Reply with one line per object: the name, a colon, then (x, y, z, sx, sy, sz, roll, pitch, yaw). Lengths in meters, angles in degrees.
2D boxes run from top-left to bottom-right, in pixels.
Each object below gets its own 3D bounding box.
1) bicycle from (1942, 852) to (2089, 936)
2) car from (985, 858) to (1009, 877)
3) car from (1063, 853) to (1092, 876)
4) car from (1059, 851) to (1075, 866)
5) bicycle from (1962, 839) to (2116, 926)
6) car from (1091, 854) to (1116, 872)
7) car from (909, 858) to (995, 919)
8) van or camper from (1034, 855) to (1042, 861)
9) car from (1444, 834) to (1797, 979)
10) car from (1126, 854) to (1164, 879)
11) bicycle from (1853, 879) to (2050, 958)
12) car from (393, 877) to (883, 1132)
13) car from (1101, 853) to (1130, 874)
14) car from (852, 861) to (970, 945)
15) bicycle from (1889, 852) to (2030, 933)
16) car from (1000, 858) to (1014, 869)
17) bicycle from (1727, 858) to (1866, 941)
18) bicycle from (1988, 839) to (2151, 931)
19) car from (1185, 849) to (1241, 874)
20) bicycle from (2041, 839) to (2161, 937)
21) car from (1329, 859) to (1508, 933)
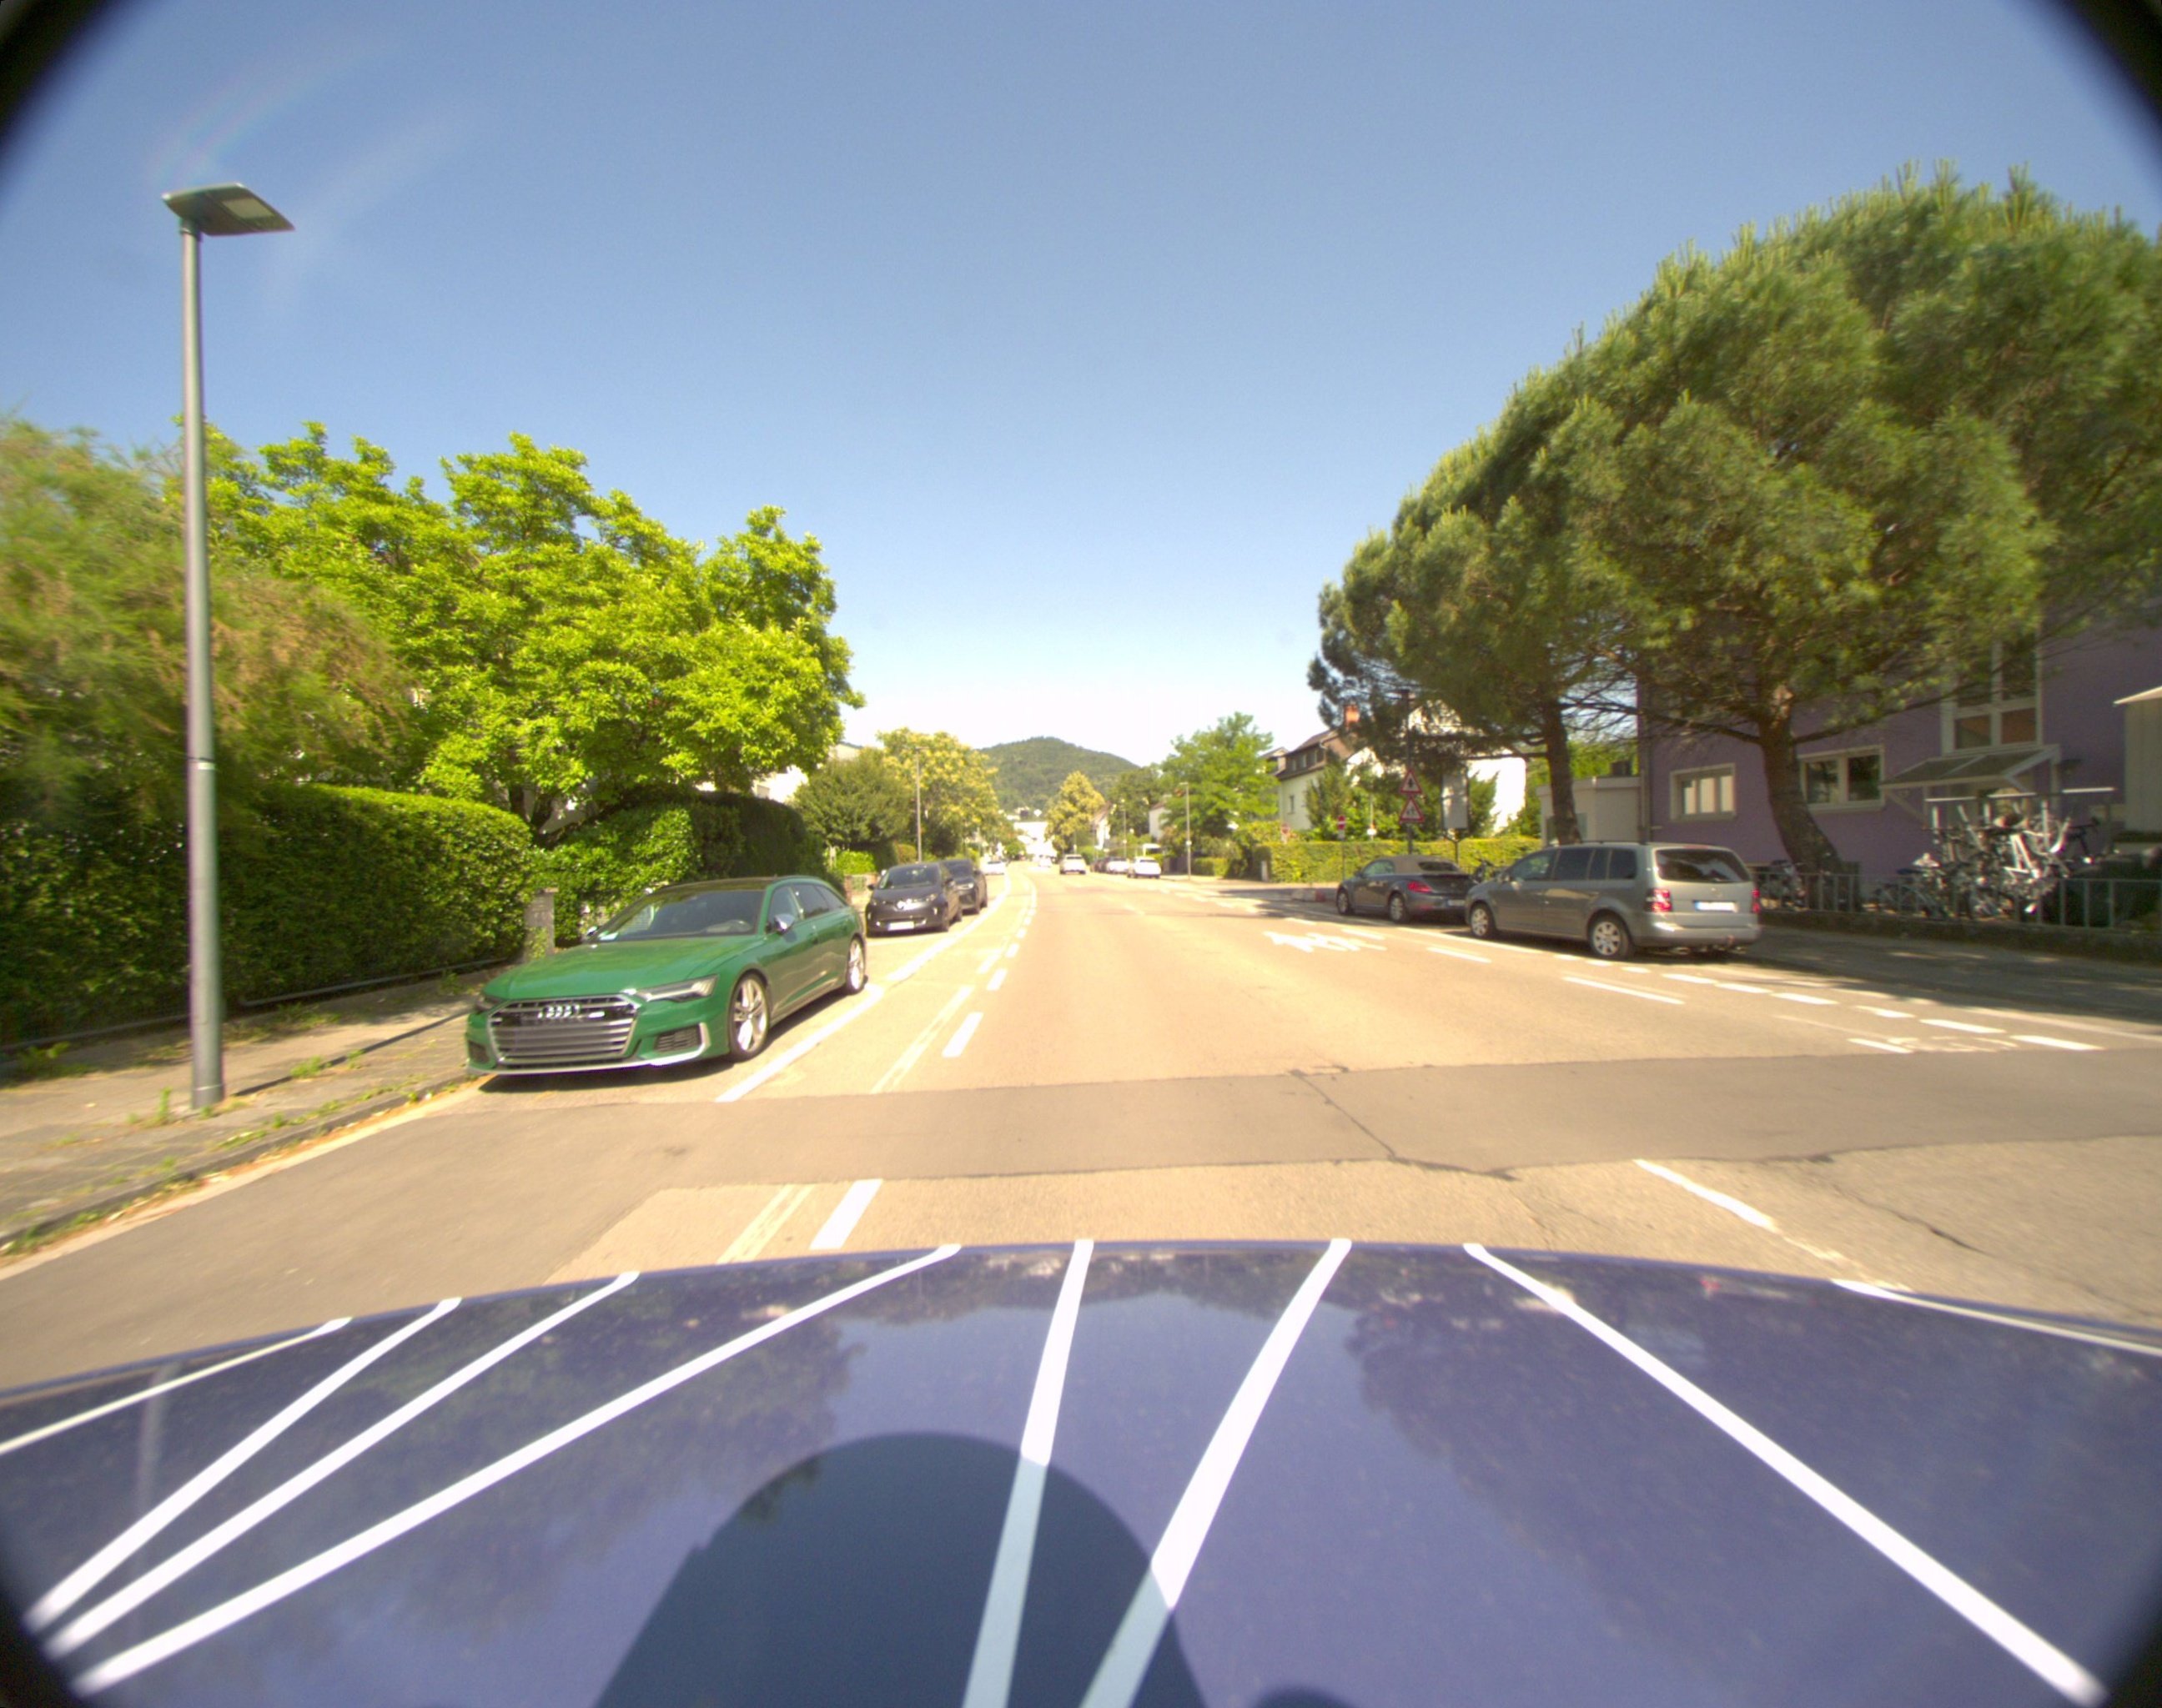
bicycle: (15.823, 0.653, 12.877, 2.178, 1.375, 0.503, 0, 0, -7)
car: (-7.815, 1.217, 70.350, 2.000, 1.696, 3.997, -2, 0, -9)
car: (-0.343, 0.843, 62.763, 2.006, 1.803, 4.763, 0, 0, -5)
car: (-1.820, 0.563, 95.287, 1.866, 1.741, 3.999, 0, 0, -4)
bicycle: (15.469, 0.447, 12.277, 2.178, 1.375, 0.503, 0, 0, -7)
car: (2.181, 0.851, 73.897, 1.999, 1.674, 3.998, -1, 0, -4)
car: (-3.773, 0.952, 22.943, 1.817, 1.550, 4.599, -3, 0, -1)
van or camper: (-12.891, 1.286, 227.425, 1.999, 1.705, 4.000, -1, 0, -1)
car: (7.688, 0.659, 11.542, 1.846, 1.754, 4.584, 0, 0, -5)
car: (4.298, 0.826, 51.512, 1.959, 1.543, 3.998, -1, 0, -4)
bicycle: (12.056, 0.850, 10.628, 0.459, 0.948, 1.913, -1, 0, -4)
car: (-3.525, 1.058, 7.364, 1.816, 1.454, 4.788, -4, -1, 1)
car: (2.890, 0.778, 63.937, 1.999, 1.608, 3.998, -1, 0, -4)
car: (-3.774, 1.021, 17.546, 1.817, 1.550, 3.916, -5, 0, -2)
bicycle: (15.438, 0.663, 13.366, 2.178, 1.375, 0.502, 0, 0, -7)
car: (-12.229, 1.496, 125.213, 2.000, 1.696, 3.997, -2, 0, -9)
bicycle: (11.872, 0.709, 12.702, 0.459, 1.259, 1.913, -1, 0, -2)
bicycle: (15.199, 0.464, 11.688, 2.178, 1.375, 0.503, 0, 0, -7)
car: (9.829, 0.585, 56.804, 3.995, 1.805, 2.001, 0, 0, 6)
bicycle: (15.247, 0.477, 11.082, 2.178, 1.375, 0.503, 0, 0, -7)
car: (7.265, 0.839, 16.886, 1.846, 1.448, 4.192, 0, -1, -5)
